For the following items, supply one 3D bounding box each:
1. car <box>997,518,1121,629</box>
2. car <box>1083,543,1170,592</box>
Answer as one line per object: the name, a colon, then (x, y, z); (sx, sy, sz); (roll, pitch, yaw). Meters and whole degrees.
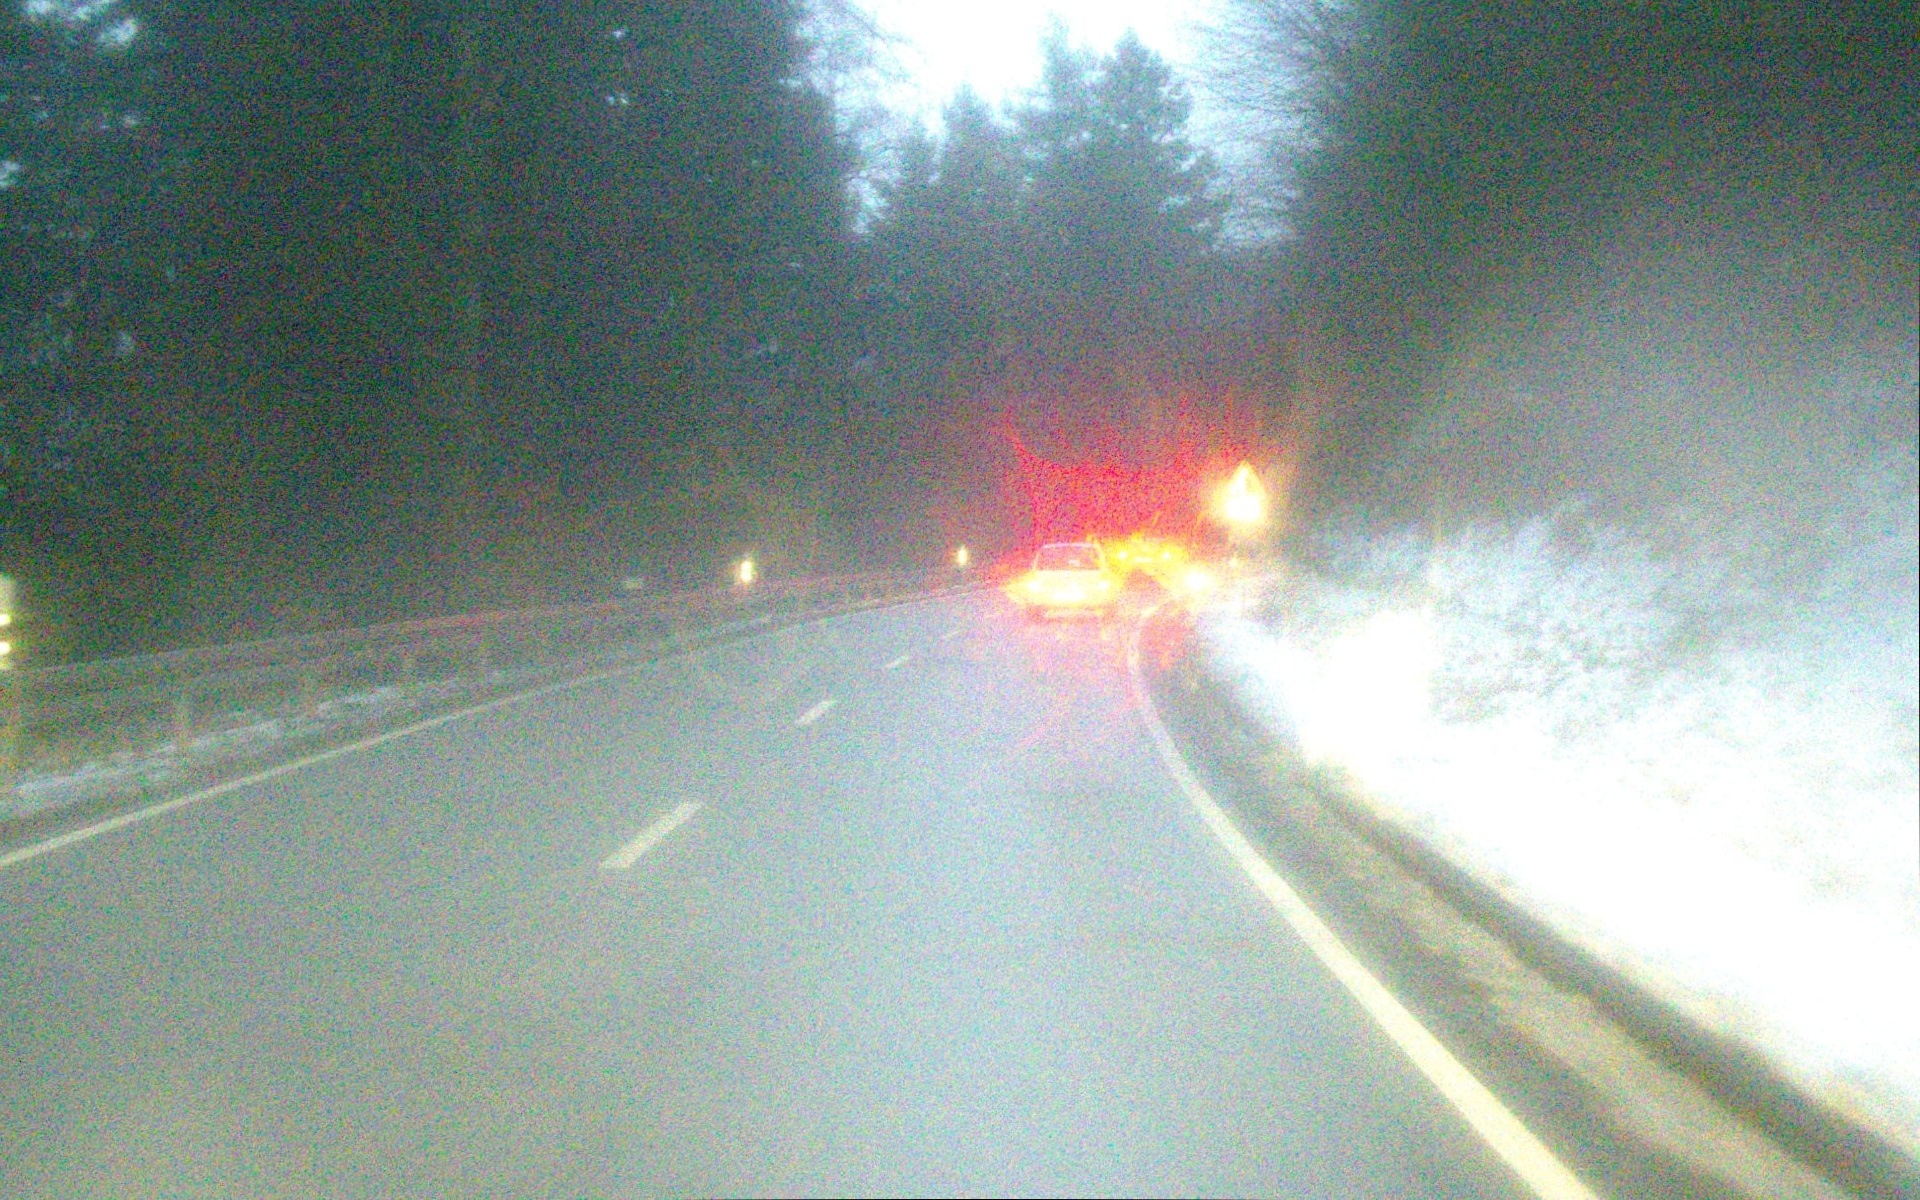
car: (1.858, -0.515, 63.137); (1.994, 1.866, 4.000); (-3, 1, 4)
car: (4.852, -0.968, 100.777); (1.993, 1.305, 4.001); (-3, 1, -4)
